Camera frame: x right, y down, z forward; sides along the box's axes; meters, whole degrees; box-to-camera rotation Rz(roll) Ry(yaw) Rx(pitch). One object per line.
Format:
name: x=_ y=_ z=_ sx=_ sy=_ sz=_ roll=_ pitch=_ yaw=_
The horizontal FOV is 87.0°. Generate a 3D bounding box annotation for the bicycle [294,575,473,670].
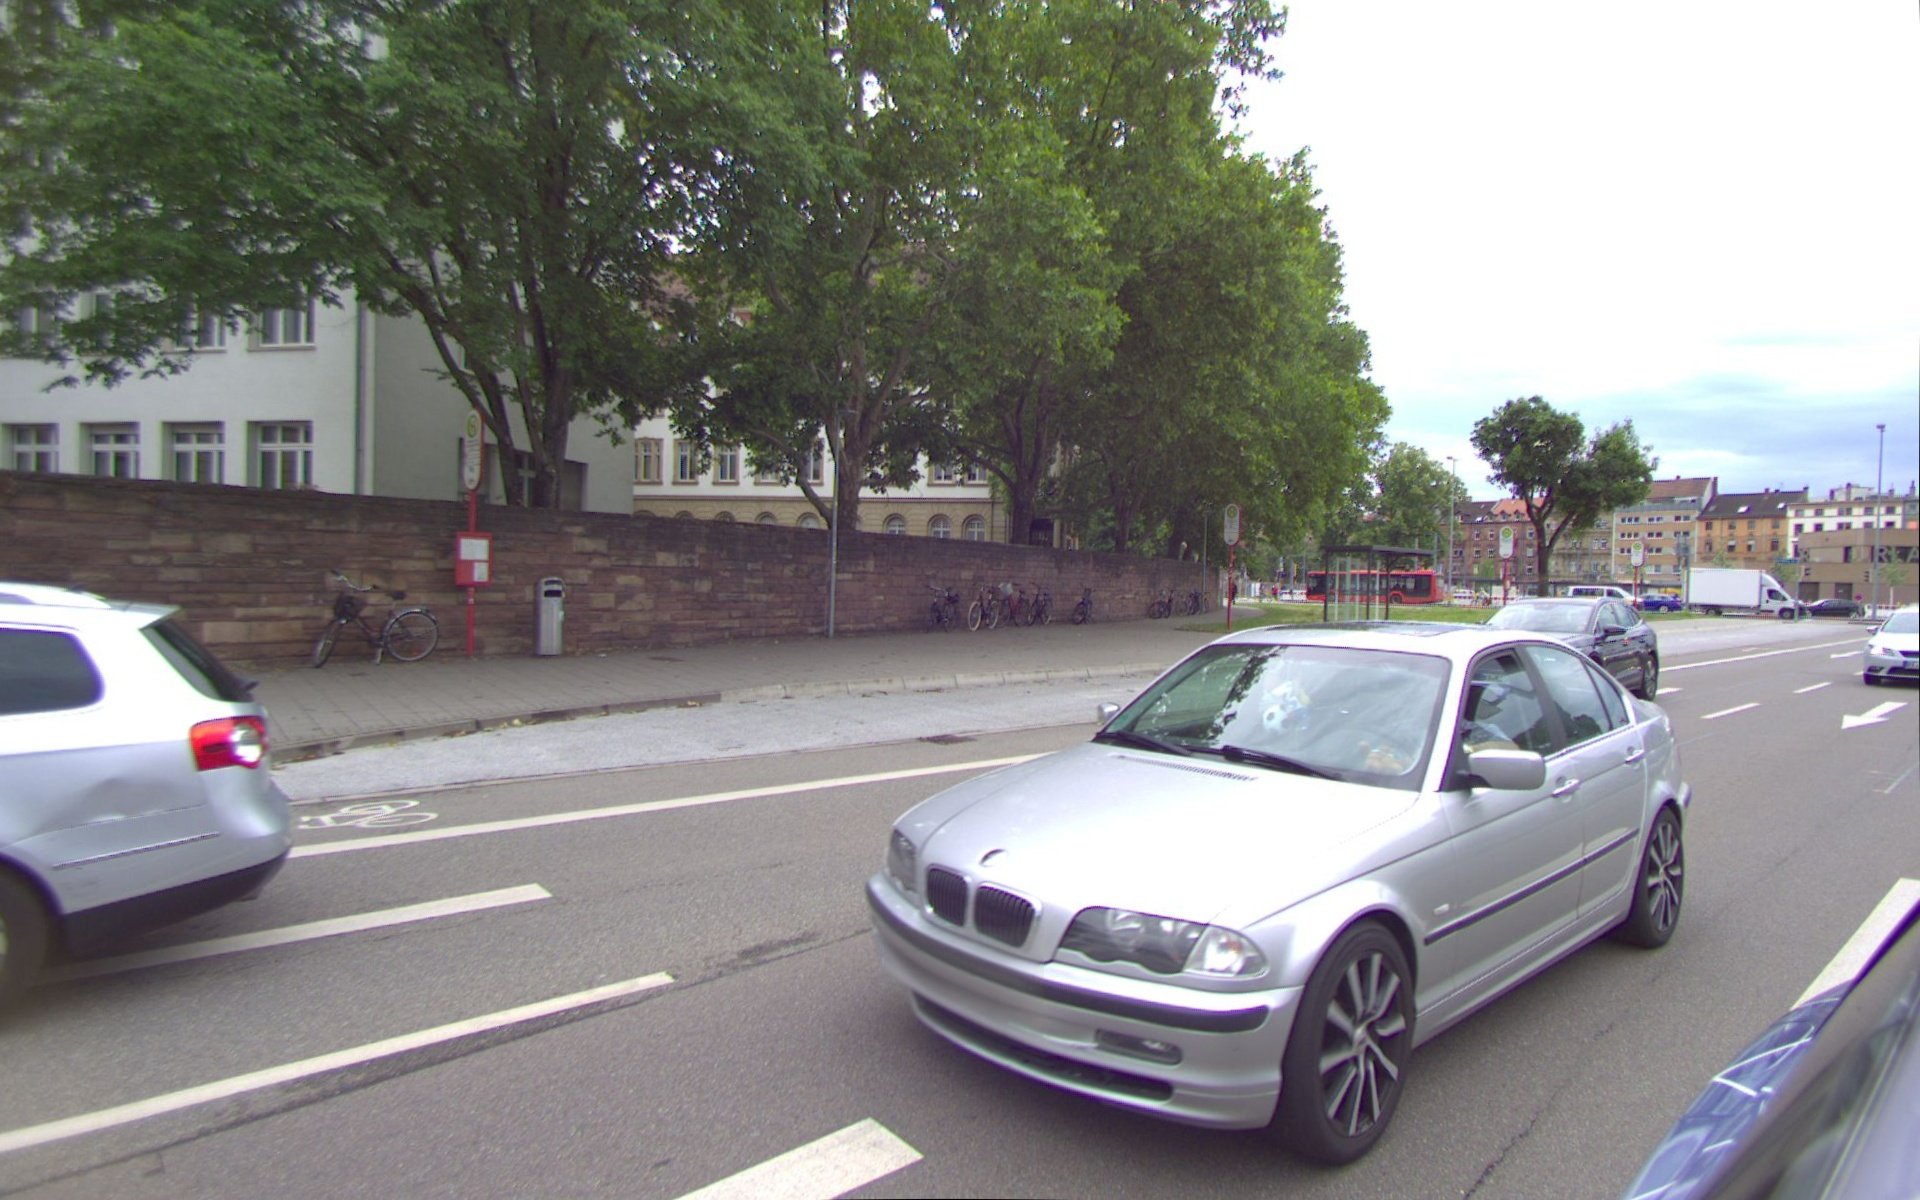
bicycle: x=-7.656 y=0.261 z=13.524 sx=0.845 sy=1.141 sz=1.900 roll=4 pitch=3 yaw=34

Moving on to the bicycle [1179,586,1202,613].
bicycle: x=9.623 y=-0.047 z=42.175 sx=0.589 sy=1.072 sz=1.700 roll=3 pitch=2 yaw=23

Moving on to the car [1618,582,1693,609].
car: x=52.314 y=-0.352 z=76.191 sx=4.418 sy=1.767 sz=1.737 roll=4 pitch=3 yaw=43

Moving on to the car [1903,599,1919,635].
car: x=42.255 y=0.729 z=43.866 sx=3.596 sy=1.484 sz=1.669 roll=0 pitch=1 yaw=-41

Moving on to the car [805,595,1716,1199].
car: x=1.592 y=0.725 z=4.250 sx=4.171 sy=1.432 sz=1.725 roll=1 pitch=0 yaw=-41

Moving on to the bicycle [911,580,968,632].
bicycle: x=-0.457 y=0.119 z=23.511 sx=0.712 sy=1.113 sz=1.780 roll=3 pitch=2 yaw=20

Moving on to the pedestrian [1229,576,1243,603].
pedestrian: x=18.054 y=-0.687 z=66.280 sx=0.745 sy=1.756 sz=0.821 roll=3 pitch=2 yaw=10

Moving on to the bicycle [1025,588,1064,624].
bicycle: x=2.372 y=0.150 z=28.280 sx=0.414 sy=0.954 sz=1.508 roll=3 pitch=2 yaw=31

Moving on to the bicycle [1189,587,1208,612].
bicycle: x=10.310 y=-0.027 z=43.745 sx=0.544 sy=1.004 sz=1.626 roll=3 pitch=2 yaw=20

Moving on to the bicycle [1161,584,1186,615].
bicycle: x=8.252 y=-0.037 z=39.065 sx=0.589 sy=1.143 sz=1.700 roll=3 pitch=2 yaw=23

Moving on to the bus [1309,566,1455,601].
bus: x=38.063 y=-1.538 z=91.894 sx=2.889 sy=2.944 sz=12.067 roll=1 pitch=1 yaw=-44

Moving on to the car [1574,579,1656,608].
car: x=47.822 y=-0.524 z=73.957 sx=1.889 sy=1.942 sz=4.704 roll=-3 pitch=4 yaw=-44

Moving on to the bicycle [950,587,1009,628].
bicycle: x=0.502 y=0.167 z=25.148 sx=0.650 sy=0.963 sz=1.750 roll=3 pitch=2 yaw=31

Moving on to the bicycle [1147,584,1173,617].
bicycle: x=7.427 y=-0.007 z=37.550 sx=0.589 sy=1.150 sz=1.700 roll=3 pitch=2 yaw=23

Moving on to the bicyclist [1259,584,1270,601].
bicyclist: x=27.634 y=-0.700 z=91.814 sx=0.737 sy=1.526 sz=0.757 roll=4 pitch=2 yaw=39

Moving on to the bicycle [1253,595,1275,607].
bicycle: x=27.565 y=0.073 z=91.853 sx=1.687 sy=0.926 sz=0.757 roll=4 pitch=2 yaw=39

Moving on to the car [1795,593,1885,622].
car: x=60.495 y=0.495 z=69.648 sx=4.237 sy=1.657 sz=1.678 roll=3 pitch=2 yaw=22

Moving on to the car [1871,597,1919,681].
car: x=18.591 y=0.703 z=18.966 sx=3.803 sy=1.481 sz=1.785 roll=0 pitch=1 yaw=-41

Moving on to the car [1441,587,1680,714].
car: x=9.206 y=0.649 z=15.360 sx=4.414 sy=1.645 sz=1.910 roll=0 pitch=0 yaw=-42

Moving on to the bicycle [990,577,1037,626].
bicycle: x=1.423 y=0.023 z=26.702 sx=0.497 sy=1.236 sz=1.609 roll=3 pitch=2 yaw=31

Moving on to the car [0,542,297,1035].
car: x=-4.743 y=0.628 z=3.048 sx=4.446 sy=1.570 sz=1.829 roll=-2 pitch=1 yaw=-39

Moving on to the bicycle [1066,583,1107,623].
bicycle: x=3.756 y=0.074 z=30.045 sx=0.593 sy=1.118 sz=1.638 roll=3 pitch=2 yaw=29

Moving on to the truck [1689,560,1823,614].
truck: x=53.485 y=-0.915 z=68.119 sx=6.835 sy=3.453 sz=2.520 roll=1 pitch=2 yaw=45
